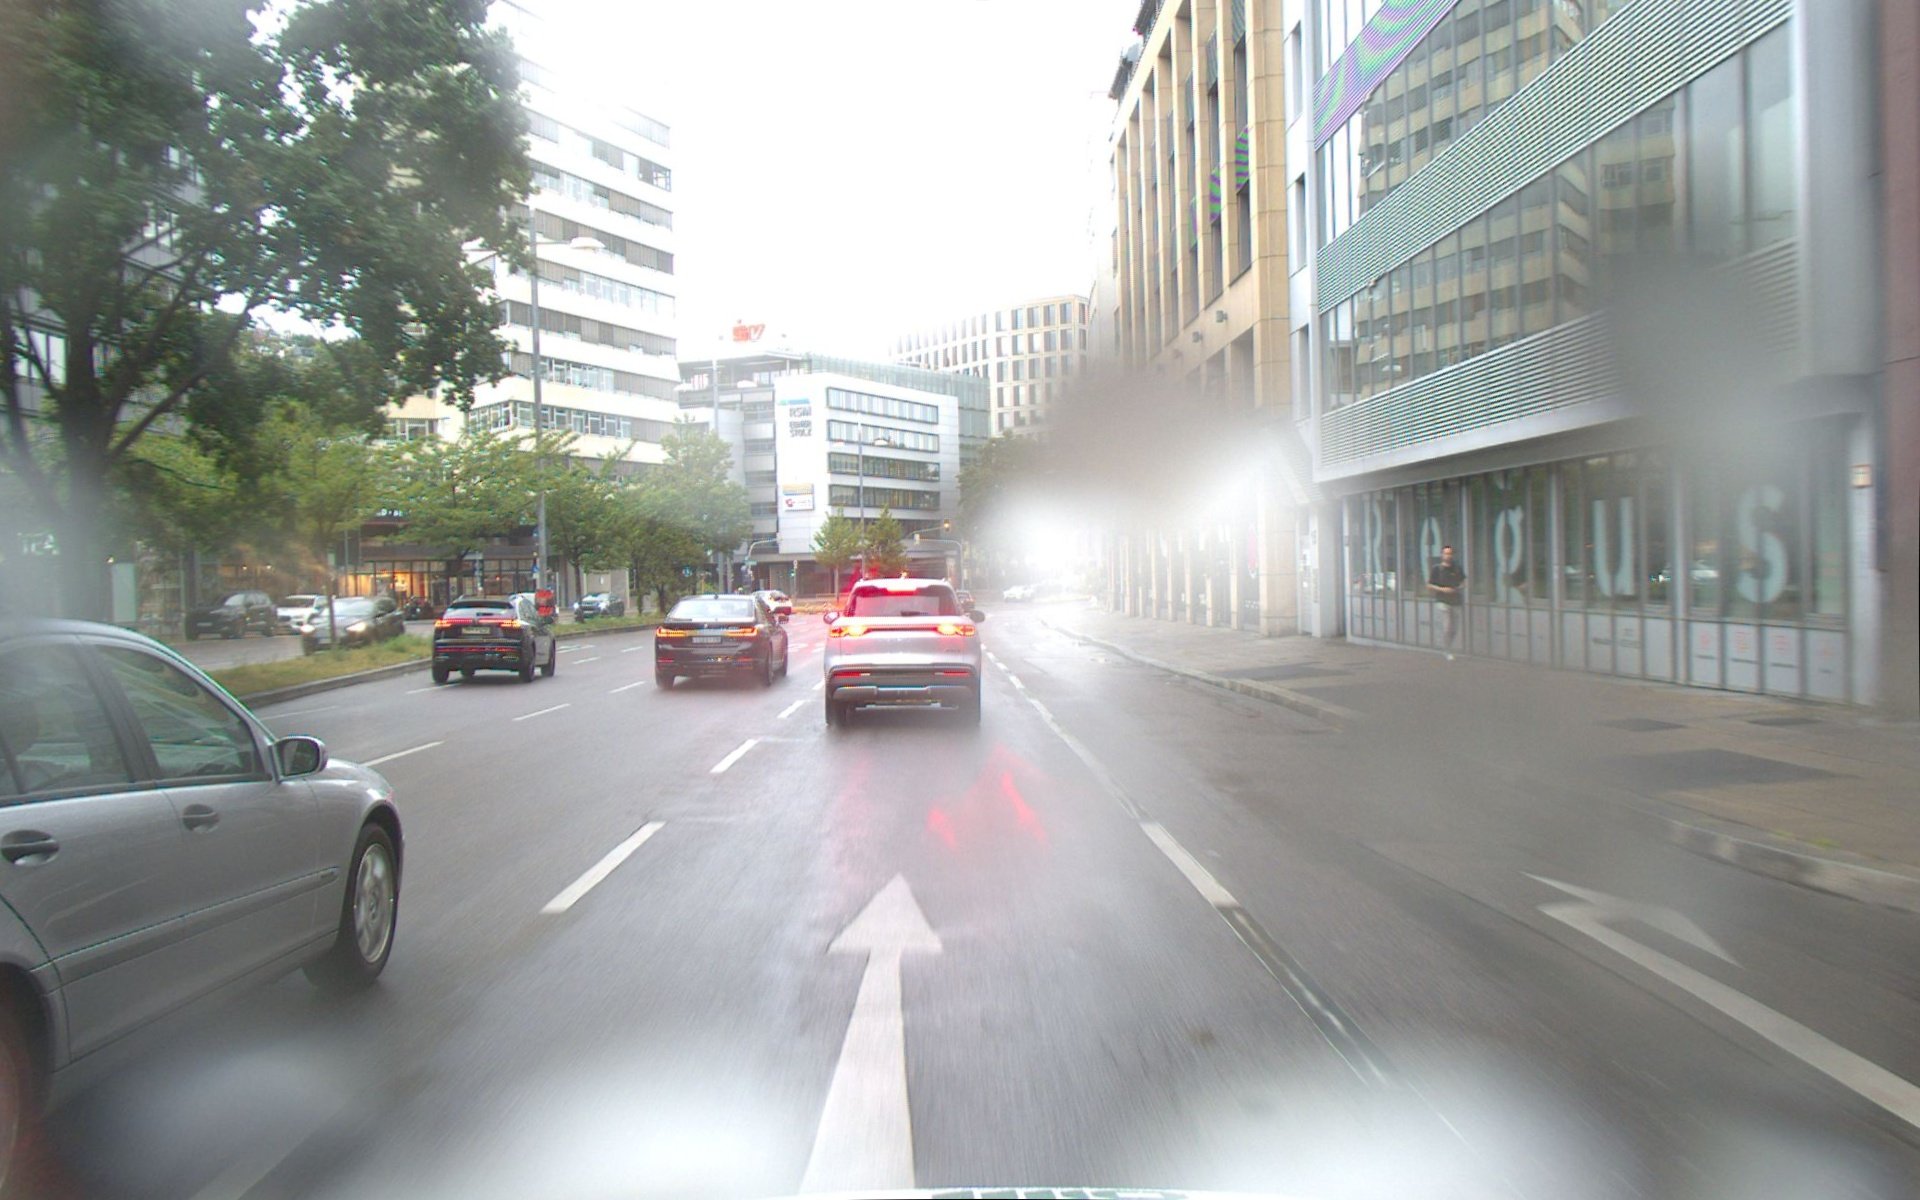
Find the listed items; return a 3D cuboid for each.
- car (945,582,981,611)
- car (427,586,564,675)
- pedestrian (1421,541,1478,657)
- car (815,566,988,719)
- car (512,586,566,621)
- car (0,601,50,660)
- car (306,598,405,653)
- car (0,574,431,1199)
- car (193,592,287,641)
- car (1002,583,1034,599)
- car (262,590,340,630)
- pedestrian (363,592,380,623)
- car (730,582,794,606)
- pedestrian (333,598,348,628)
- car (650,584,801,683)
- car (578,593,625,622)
[{"bbox_3d":[0.219,-0.222,97.346,1.773,1.606,4.003,-1,0,5],"label":"car"},{"bbox_3d":[-8.398,0.533,30.217,1.740,1.482,3.994,-1,0,-6],"label":"car"},{"bbox_3d":[7.795,-0.016,26.350,0.622,1.803,0.789,-1,-1,-1],"label":"pedestrian"},{"bbox_3d":[-0.673,0.454,19.939,1.862,1.650,3.999,0,0,-1],"label":"car"},{"bbox_3d":[-19.475,0.166,76.685,1.591,1.518,4.304,-1,0,-3],"label":"car"},{"bbox_3d":[-24.582,0.772,41.160,1.591,1.458,4.443,-1,0,-3],"label":"car"},{"bbox_3d":[-15.955,0.657,43.785,1.592,1.334,3.613,-1,0,-6],"label":"car"},{"bbox_3d":[-2.968,0.698,4.624,1.638,1.505,4.359,0,0,-1],"label":"car"},{"bbox_3d":[-25.050,0.543,57.692,1.591,1.639,4.230,0,0,-3],"label":"car"},{"bbox_3d":[5.767,-0.881,163.900,1.551,1.565,3.994,-1,0,29],"label":"car"},{"bbox_3d":[-25.319,0.372,63.687,1.591,1.486,3.961,0,0,-3],"label":"car"},{"bbox_3d":[-33.095,0.404,92.985,0.746,1.743,0.585,-1,0,-39],"label":"pedestrian"},{"bbox_3d":[-11.814,-0.370,98.669,3.930,1.365,1.648,0,1,43],"label":"car"},{"bbox_3d":[-31.919,0.673,85.255,0.597,1.530,0.431,-1,0,-39],"label":"pedestrian"},{"bbox_3d":[-3.887,0.494,28.247,1.834,1.505,4.878,-1,1,0],"label":"car"},{"bbox_3d":[-19.238,0.382,88.926,1.590,1.478,4.162,-1,0,0],"label":"car"}]
